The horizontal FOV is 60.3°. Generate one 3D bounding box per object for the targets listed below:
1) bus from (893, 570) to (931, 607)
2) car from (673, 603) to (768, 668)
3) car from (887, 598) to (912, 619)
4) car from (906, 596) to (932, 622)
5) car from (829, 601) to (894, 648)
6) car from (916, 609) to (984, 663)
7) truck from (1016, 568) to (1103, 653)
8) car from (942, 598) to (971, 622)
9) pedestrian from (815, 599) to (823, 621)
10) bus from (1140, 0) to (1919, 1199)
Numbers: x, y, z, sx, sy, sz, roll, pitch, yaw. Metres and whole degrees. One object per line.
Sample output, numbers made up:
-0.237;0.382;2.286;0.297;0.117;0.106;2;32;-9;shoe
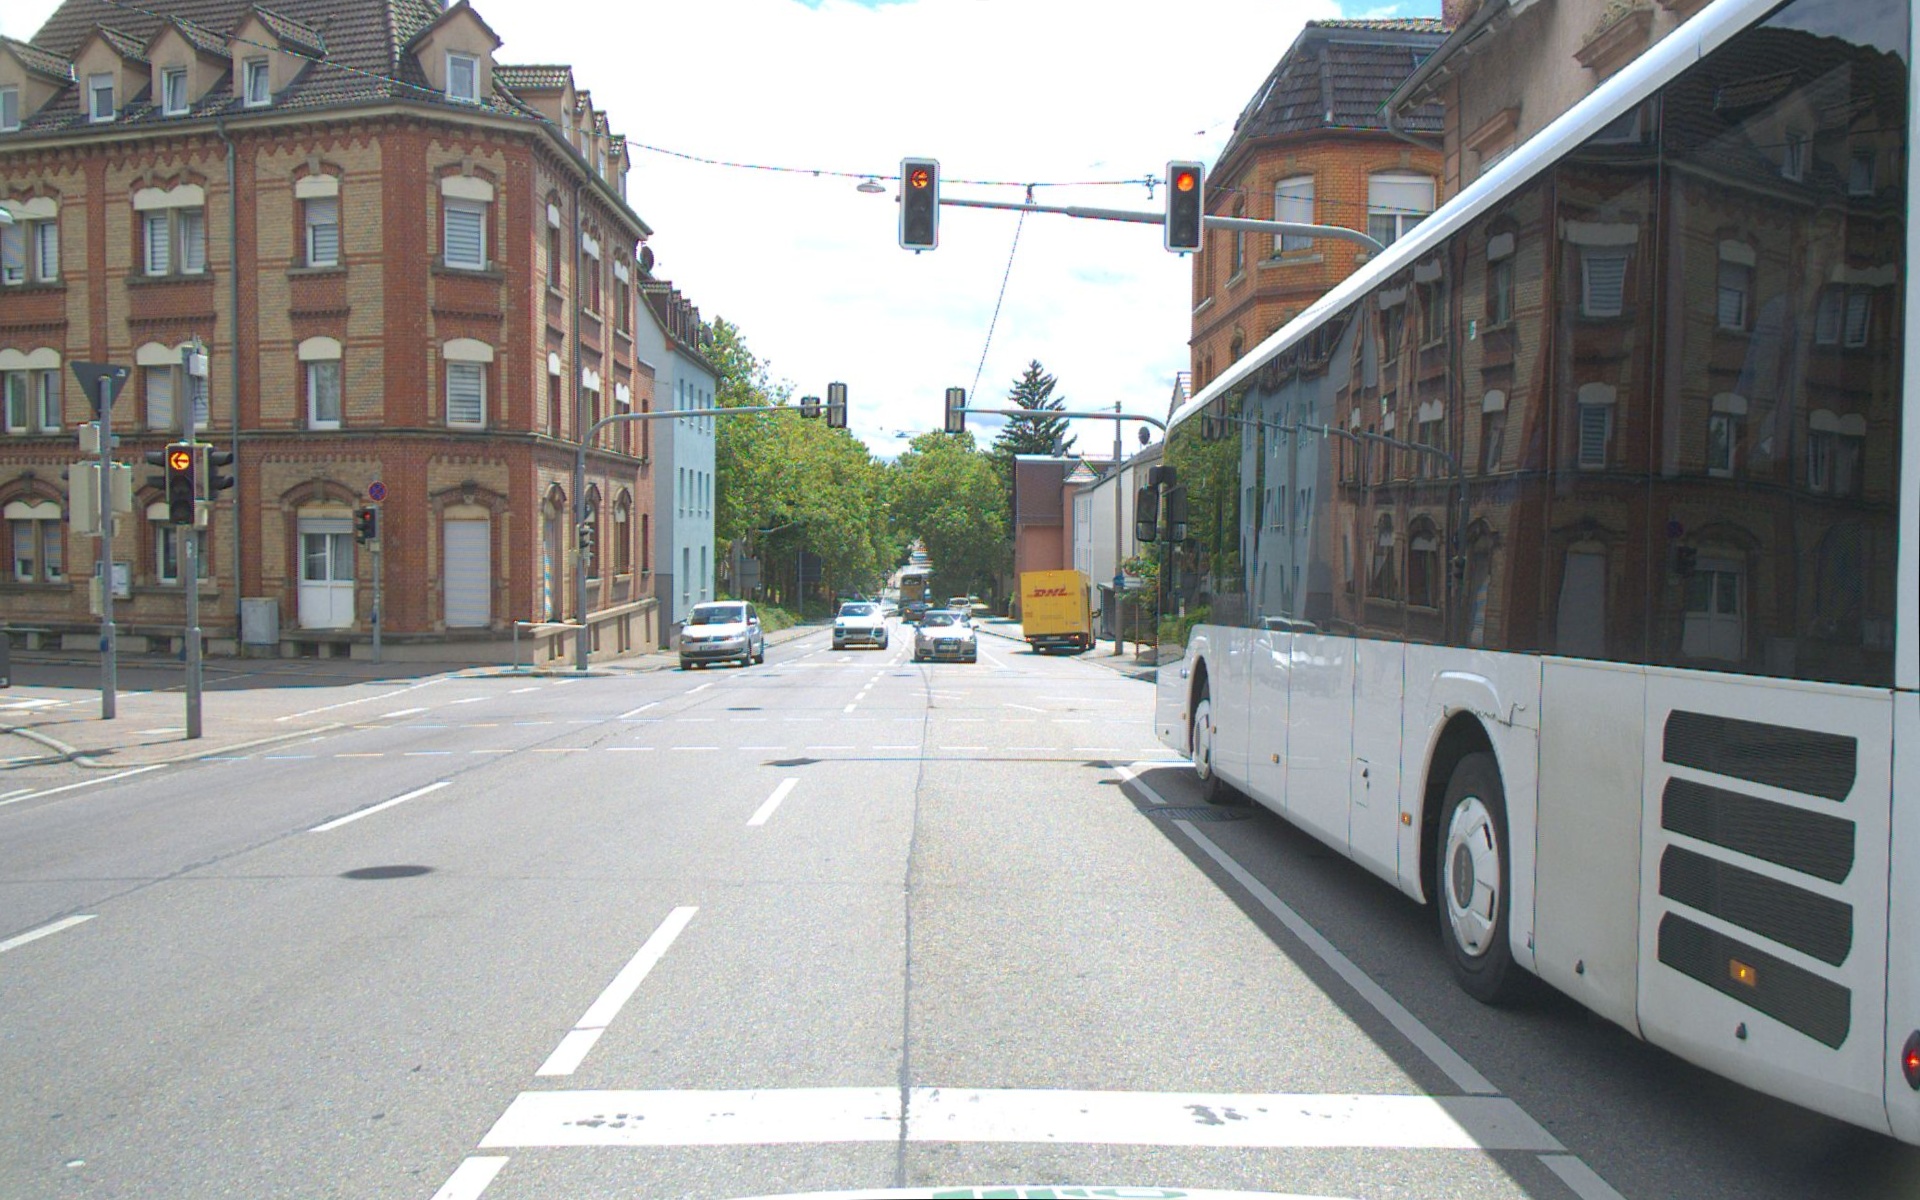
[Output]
-5.028;-1.135;171.644;3.236;3.694;11.232;-1;0;-5;bus
-6.191;0.887;43.212;1.896;1.591;4.388;0;0;-1;car
-5.329;0.728;144.719;2.050;1.862;4.139;0;0;-4;car
-2.871;0.628;116.544;1.782;1.816;3.999;0;0;-1;car
-3.595;0.866;60.953;2.162;1.641;4.546;0;0;-1;car
-0.308;0.976;46.653;1.827;1.391;4.546;0;0;-1;car
3.809;0.387;62.025;2.487;2.964;6.578;1;0;10;truck
-0.289;0.744;129.463;2.050;1.862;4.139;0;0;-4;car
-11.644;0.840;136.354;0.594;1.789;0.653;0;0;-2;pedestrian
3.236;-0.203;9.346;2.845;3.571;12.484;1;0;-1;bus
